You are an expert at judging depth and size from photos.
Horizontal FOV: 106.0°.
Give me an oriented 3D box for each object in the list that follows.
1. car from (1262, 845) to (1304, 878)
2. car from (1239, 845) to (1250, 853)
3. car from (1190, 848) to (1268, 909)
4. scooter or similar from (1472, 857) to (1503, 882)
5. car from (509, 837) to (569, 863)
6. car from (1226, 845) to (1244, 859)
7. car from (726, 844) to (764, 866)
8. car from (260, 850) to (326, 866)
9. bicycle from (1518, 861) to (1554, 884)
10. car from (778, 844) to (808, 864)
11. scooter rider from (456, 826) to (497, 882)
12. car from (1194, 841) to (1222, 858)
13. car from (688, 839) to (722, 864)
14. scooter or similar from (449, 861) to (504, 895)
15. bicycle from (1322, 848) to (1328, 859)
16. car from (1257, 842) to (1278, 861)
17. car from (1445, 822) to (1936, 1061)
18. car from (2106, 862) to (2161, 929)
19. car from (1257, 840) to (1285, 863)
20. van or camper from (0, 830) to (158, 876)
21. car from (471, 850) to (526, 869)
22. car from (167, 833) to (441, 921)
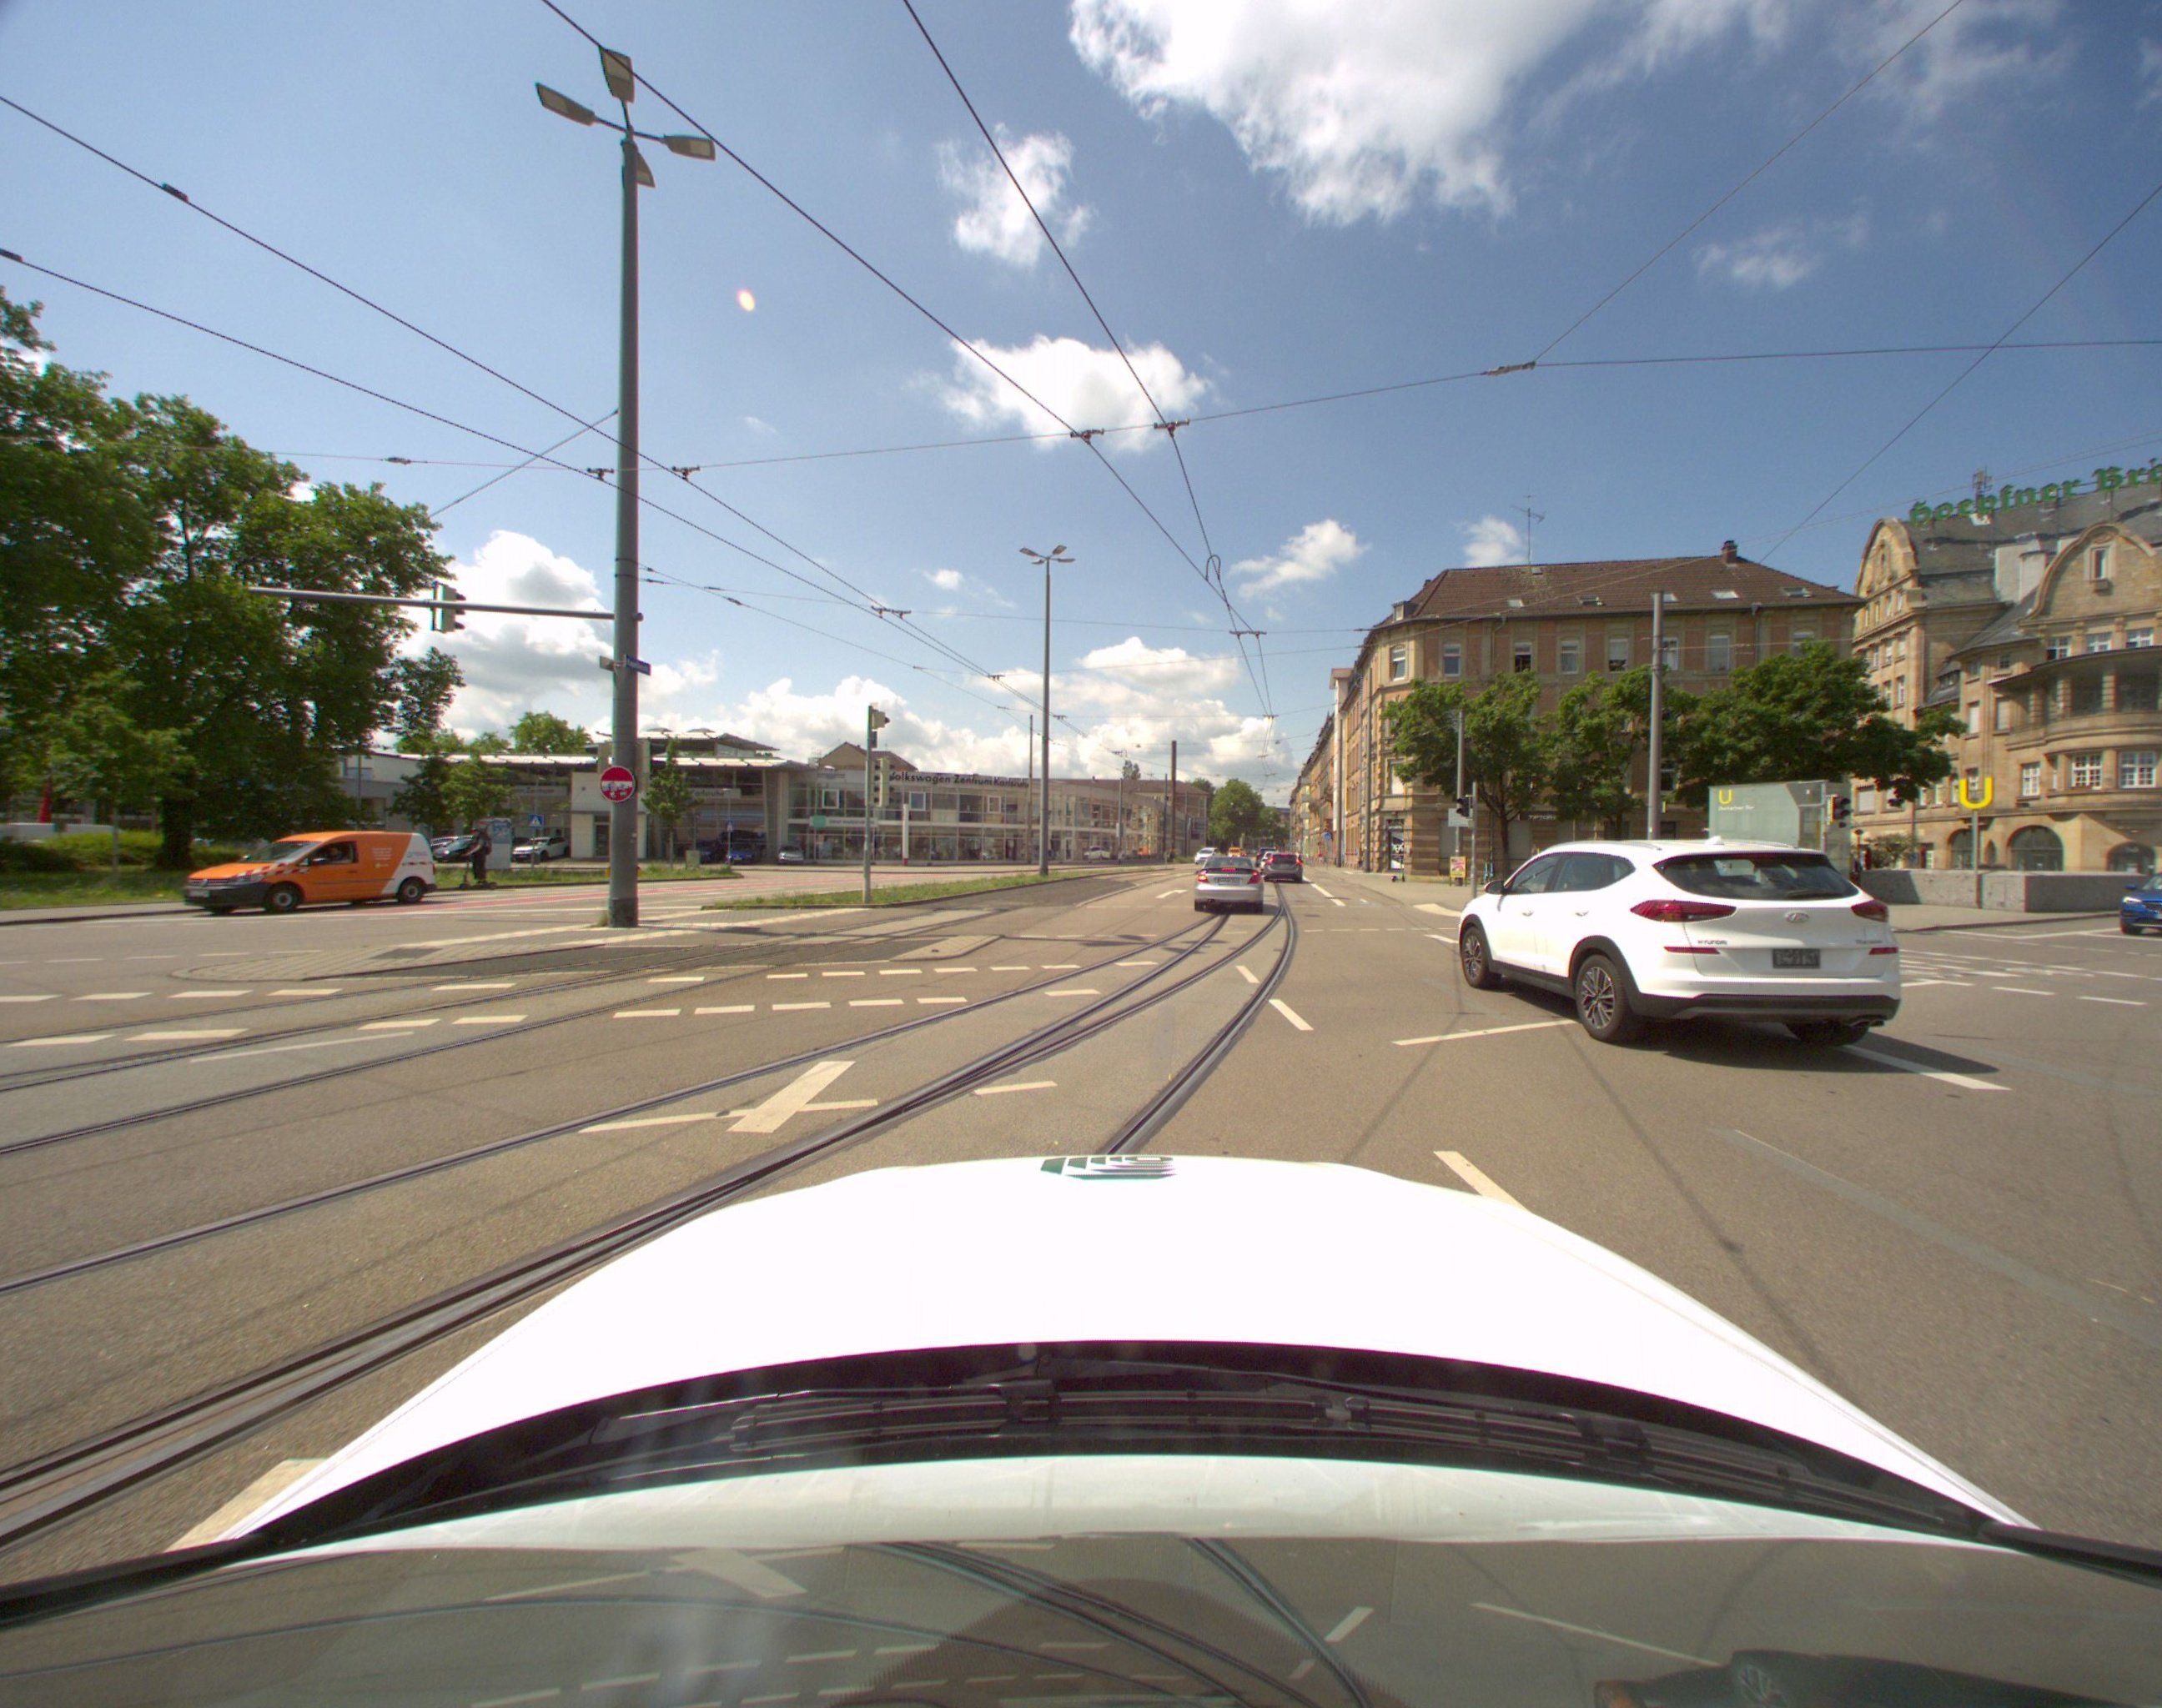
[{"bbox_3d":[9.948,0.342,40.324,1.803,1.524,4.098,1,1,11],"label":"car"},{"bbox_3d":[28.729,-0.862,143.110,1.691,1.428,3.913,1,0,11],"label":"car"},{"bbox_3d":[3.930,0.572,21.530,1.803,1.420,4.200,1,1,11],"label":"car"},{"bbox_3d":[19.887,0.758,39.898,0.943,1.203,1.392,0,-1,6],"label":"scooter or similar"},{"bbox_3d":[-38.274,-0.256,57.618,1.690,1.774,3.863,1,0,-1],"label":"car"},{"bbox_3d":[20.667,-0.266,109.232,1.897,1.866,4.385,-1,0,16],"label":"car"},{"bbox_3d":[-23.538,0.017,57.116,1.655,1.473,3.775,0,1,-10],"label":"car"},{"bbox_3d":[-64.868,0.315,67.059,3.625,1.246,1.553,1,0,-9],"label":"car"},{"bbox_3d":[22.005,0.867,39.420,1.017,1.081,2.273,-1,-1,15],"label":"bicycle"},{"bbox_3d":[-21.002,-0.012,59.269,1.837,1.446,3.917,1,0,-23],"label":"car"},{"bbox_3d":[-18.990,-0.004,25.597,0.772,1.707,0.651,1,0,12],"label":"scooter rider"},{"bbox_3d":[12.880,-0.464,82.268,1.751,1.604,4.517,-1,0,22],"label":"car"},{"bbox_3d":[-26.557,-0.194,57.439,1.782,1.672,3.603,1,0,-31],"label":"car"},{"bbox_3d":[-18.997,0.737,25.610,0.798,1.032,1.096,1,0,12],"label":"scooter or similar"},{"bbox_3d":[28.058,-0.077,93.632,0.582,1.178,2.213,1,1,14],"label":"bicycle"},{"bbox_3d":[16.415,-0.220,71.751,1.802,1.661,4.099,1,0,13],"label":"car"},{"bbox_3d":[5.167,0.575,7.772,1.843,1.634,4.187,1,1,5],"label":"car"},{"bbox_3d":[27.222,0.983,19.805,4.433,1.551,1.858,1,-2,-25],"label":"car"},{"bbox_3d":[13.345,-0.203,57.245,1.802,1.524,3.969,0,1,13],"label":"car"},{"bbox_3d":[-59.271,-0.084,47.784,2.563,2.499,6.680,1,0,-1],"label":"van or camper"},{"bbox_3d":[-40.955,0.371,57.354,1.551,1.246,3.631,1,0,-6],"label":"car"},{"bbox_3d":[-17.446,0.424,18.626,1.754,1.765,4.255,0,1,11],"label":"car"}]
